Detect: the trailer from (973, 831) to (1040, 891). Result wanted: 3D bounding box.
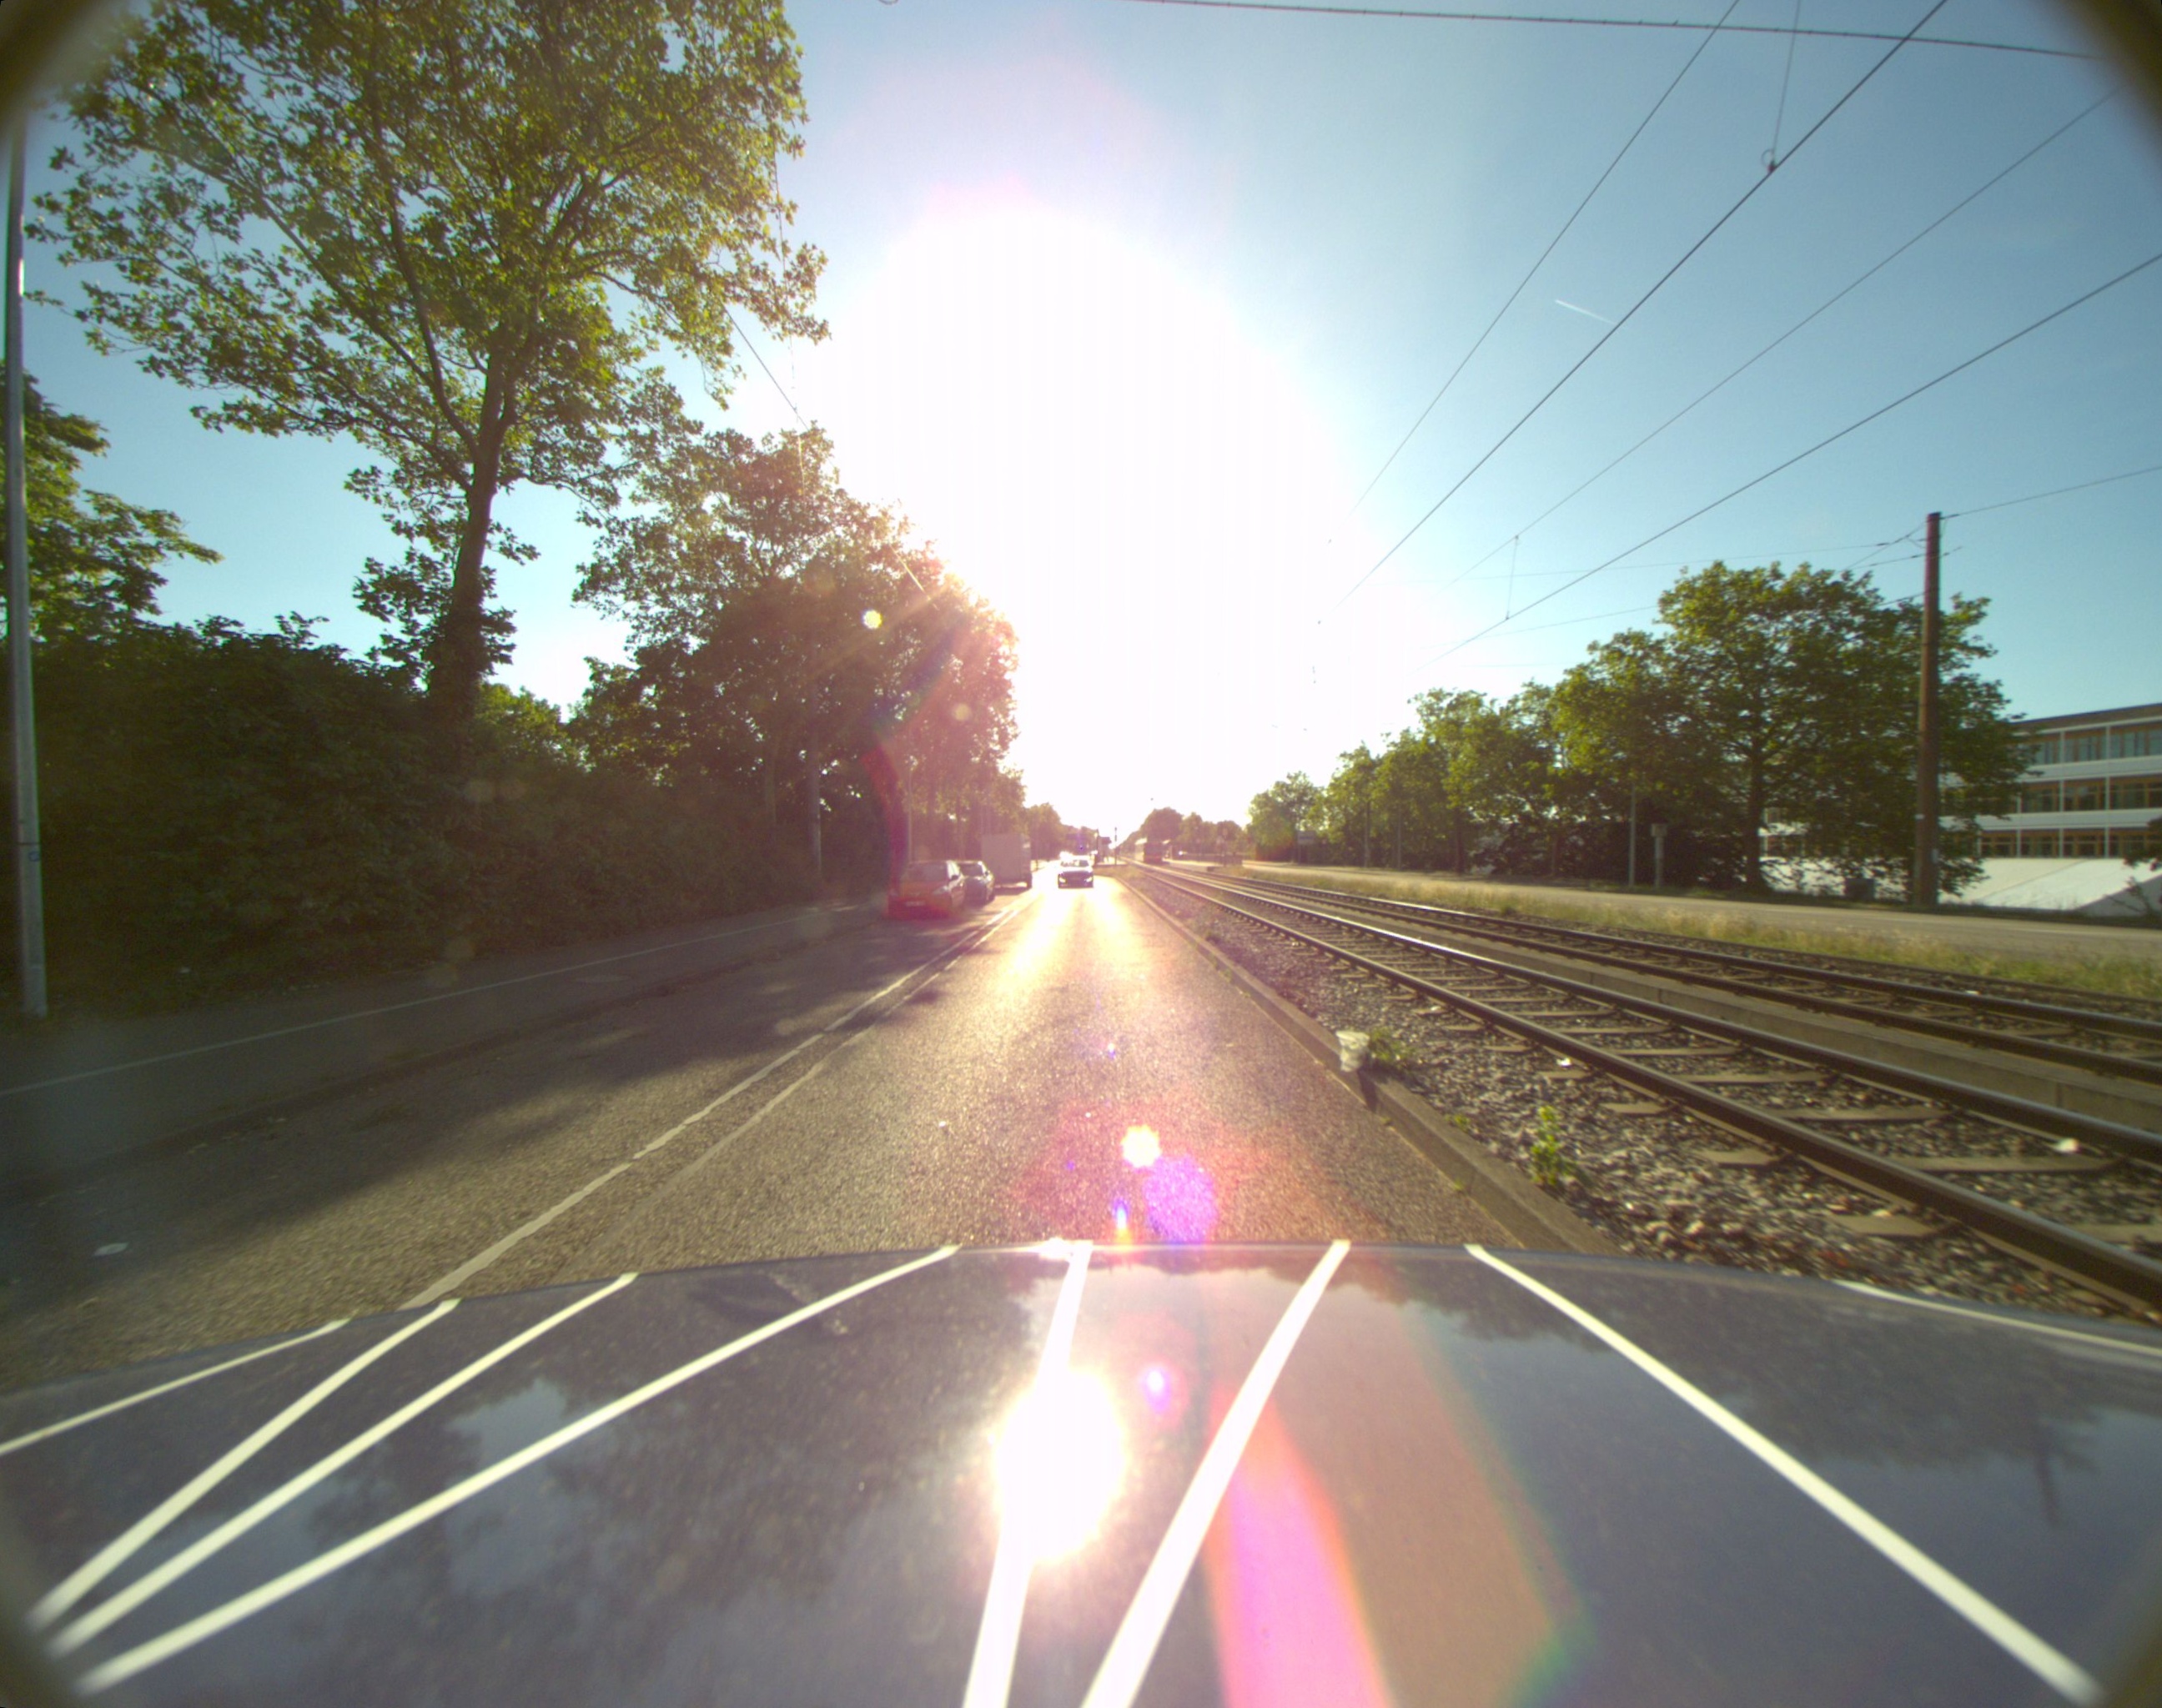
[{"bbox_3d":[-3.565,0.291,37.667,2.256,2.679,5.948,-1,1,4],"label":"trailer"}]

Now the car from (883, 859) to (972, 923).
[{"bbox_3d":[-4.170,0.959,21.181,1.644,1.528,3.640,-1,1,1],"label":"car"}]

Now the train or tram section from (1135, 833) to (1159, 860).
[{"bbox_3d":[10.421,-1.219,120.951,2.834,3.983,15.874,-2,1,2],"label":"train or tram section"}]

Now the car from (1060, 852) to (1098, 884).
[{"bbox_3d":[-0.064,0.661,38.336,1.786,1.530,4.000,0,0,2],"label":"car"}]

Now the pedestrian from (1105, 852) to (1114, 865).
[{"bbox_3d":[3.274,0.552,88.160,0.760,1.485,0.696,-1,1,35],"label":"pedestrian"}]

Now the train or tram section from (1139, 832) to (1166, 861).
[{"bbox_3d":[9.946,-1.052,106.509,2.834,3.665,12.968,-2,1,2],"label":"train or tram section"}]

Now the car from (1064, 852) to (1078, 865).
[{"bbox_3d":[-1.322,0.590,102.037,1.784,1.586,4.000,-1,0,1],"label":"car"}]

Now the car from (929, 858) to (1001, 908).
[{"bbox_3d":[-3.930,0.931,26.302,1.813,1.448,4.165,-3,1,0],"label":"car"}]
